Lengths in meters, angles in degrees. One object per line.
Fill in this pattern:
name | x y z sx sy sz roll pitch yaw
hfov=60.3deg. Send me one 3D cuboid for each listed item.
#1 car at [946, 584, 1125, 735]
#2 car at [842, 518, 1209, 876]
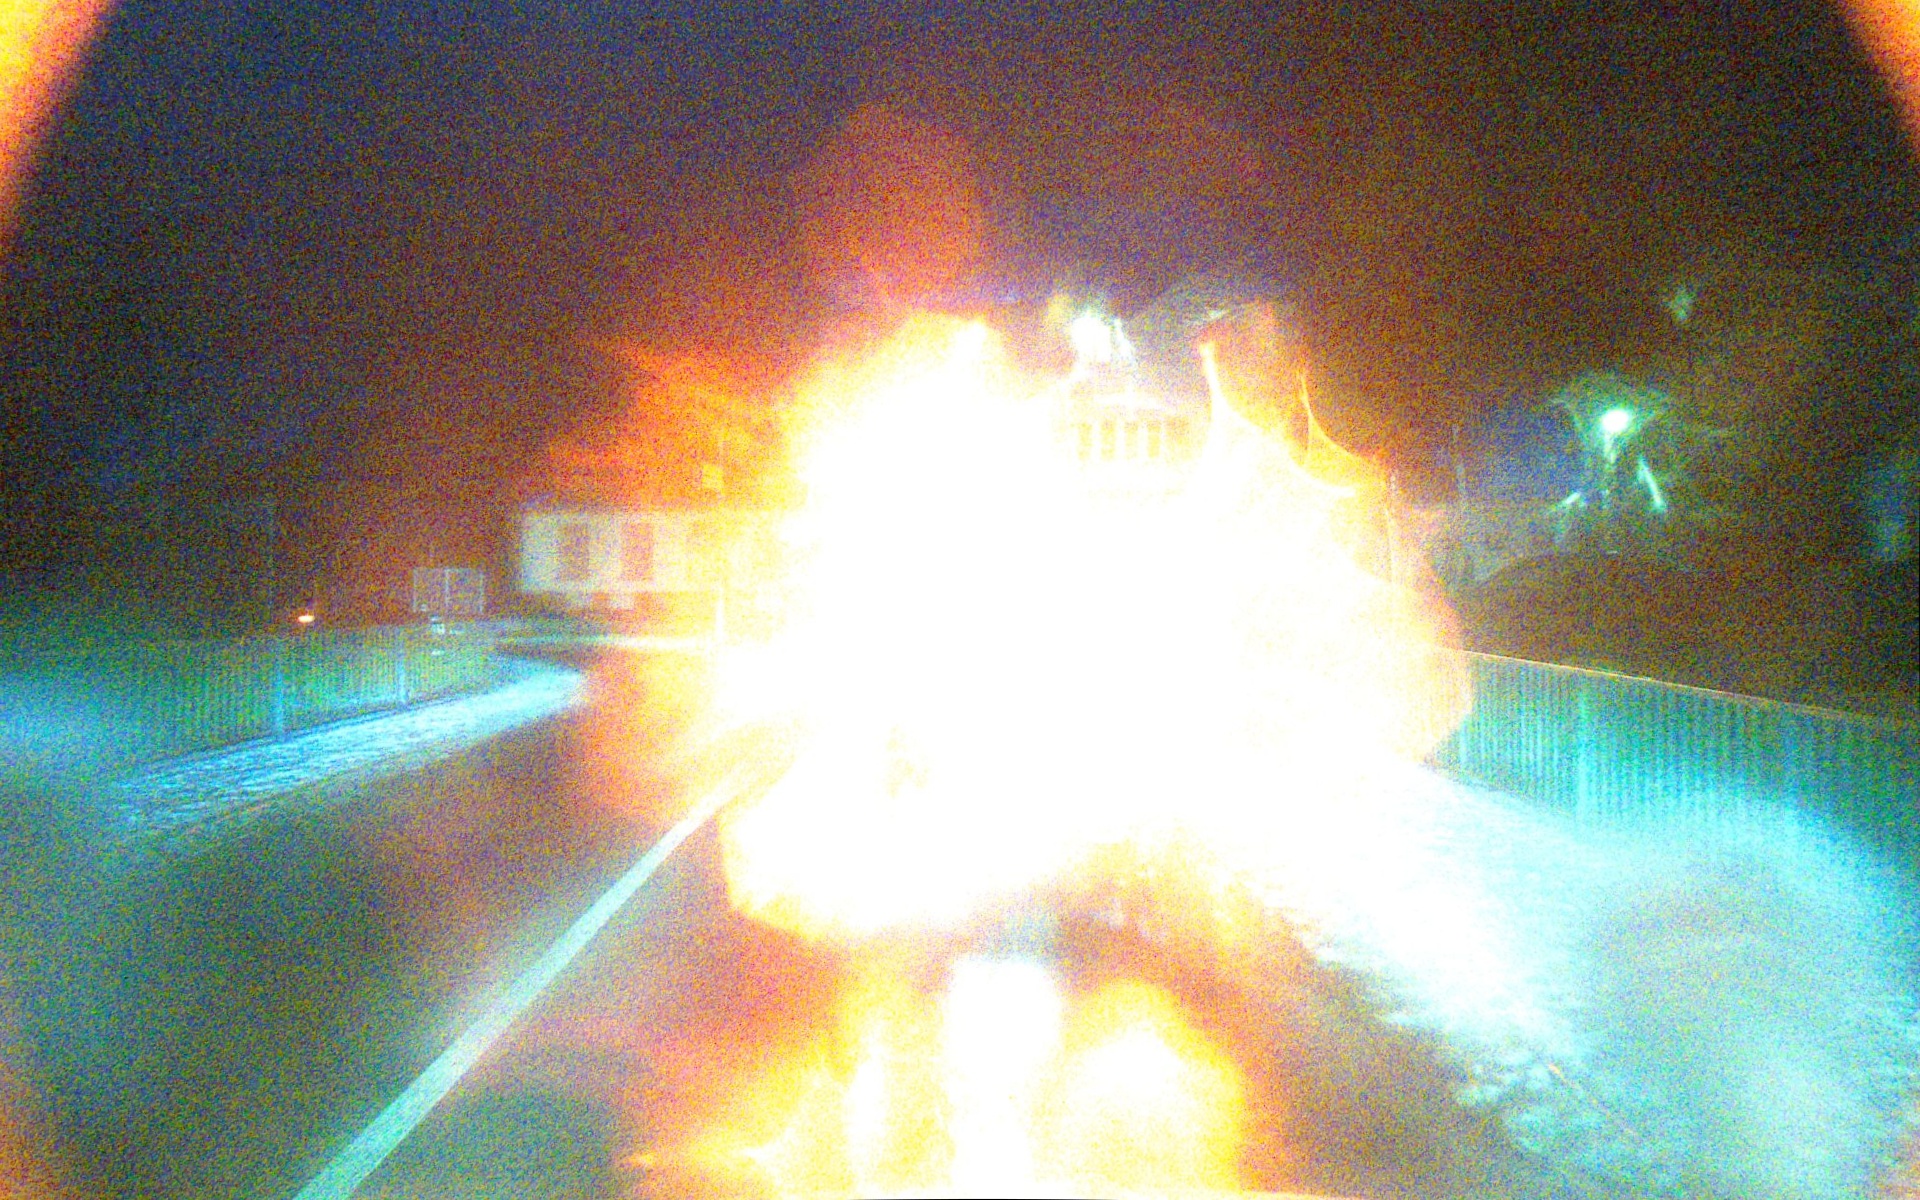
car | 0.837 0.549 17.765 1.707 1.440 4.002 0 1 3
car | 0.356 0.430 9.857 1.754 1.710 3.905 0 1 1
